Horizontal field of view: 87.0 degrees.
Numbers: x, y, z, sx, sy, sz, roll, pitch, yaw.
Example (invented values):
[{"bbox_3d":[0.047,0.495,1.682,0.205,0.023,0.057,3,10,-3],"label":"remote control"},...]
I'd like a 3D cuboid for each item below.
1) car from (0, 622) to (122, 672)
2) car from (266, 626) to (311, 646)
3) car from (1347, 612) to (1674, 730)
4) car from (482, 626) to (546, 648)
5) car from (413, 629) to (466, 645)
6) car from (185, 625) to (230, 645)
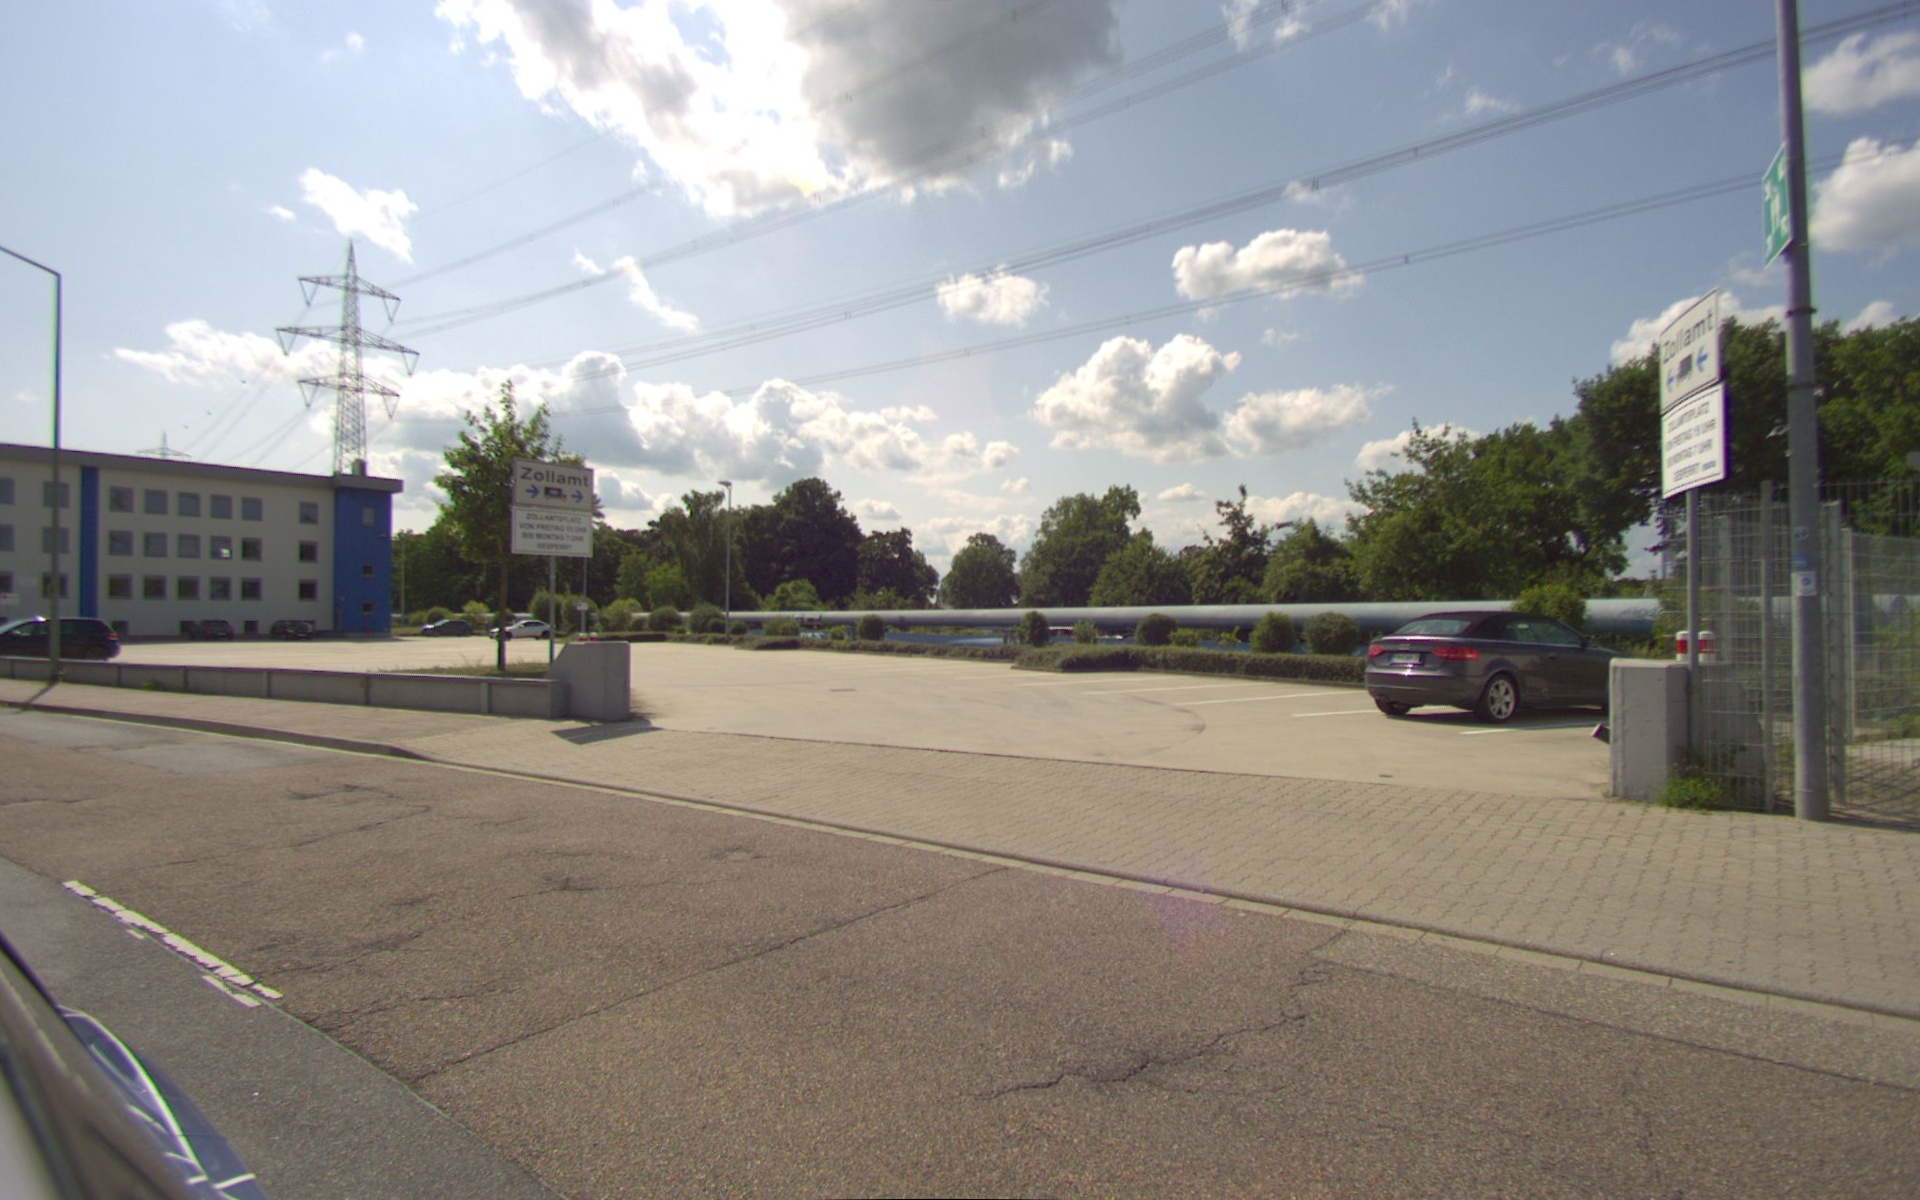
[{"bbox_3d":[-27.160,1.337,29.401,1.797,1.386,3.957,-1,-2,31],"label":"car"},{"bbox_3d":[-49.773,2.632,74.999,3.672,1.386,1.548,-1,-1,36],"label":"car"},{"bbox_3d":[7.361,0.864,13.542,3.930,1.388,1.809,0,-1,-24],"label":"car"},{"bbox_3d":[-31.927,2.647,72.473,1.804,1.485,3.770,-2,-2,44],"label":"car"},{"bbox_3d":[-43.672,3.080,85.022,1.802,1.261,3.562,-2,-2,40],"label":"car"},{"bbox_3d":[-53.263,2.441,71.617,3.672,1.386,1.548,-1,-2,36],"label":"car"}]
